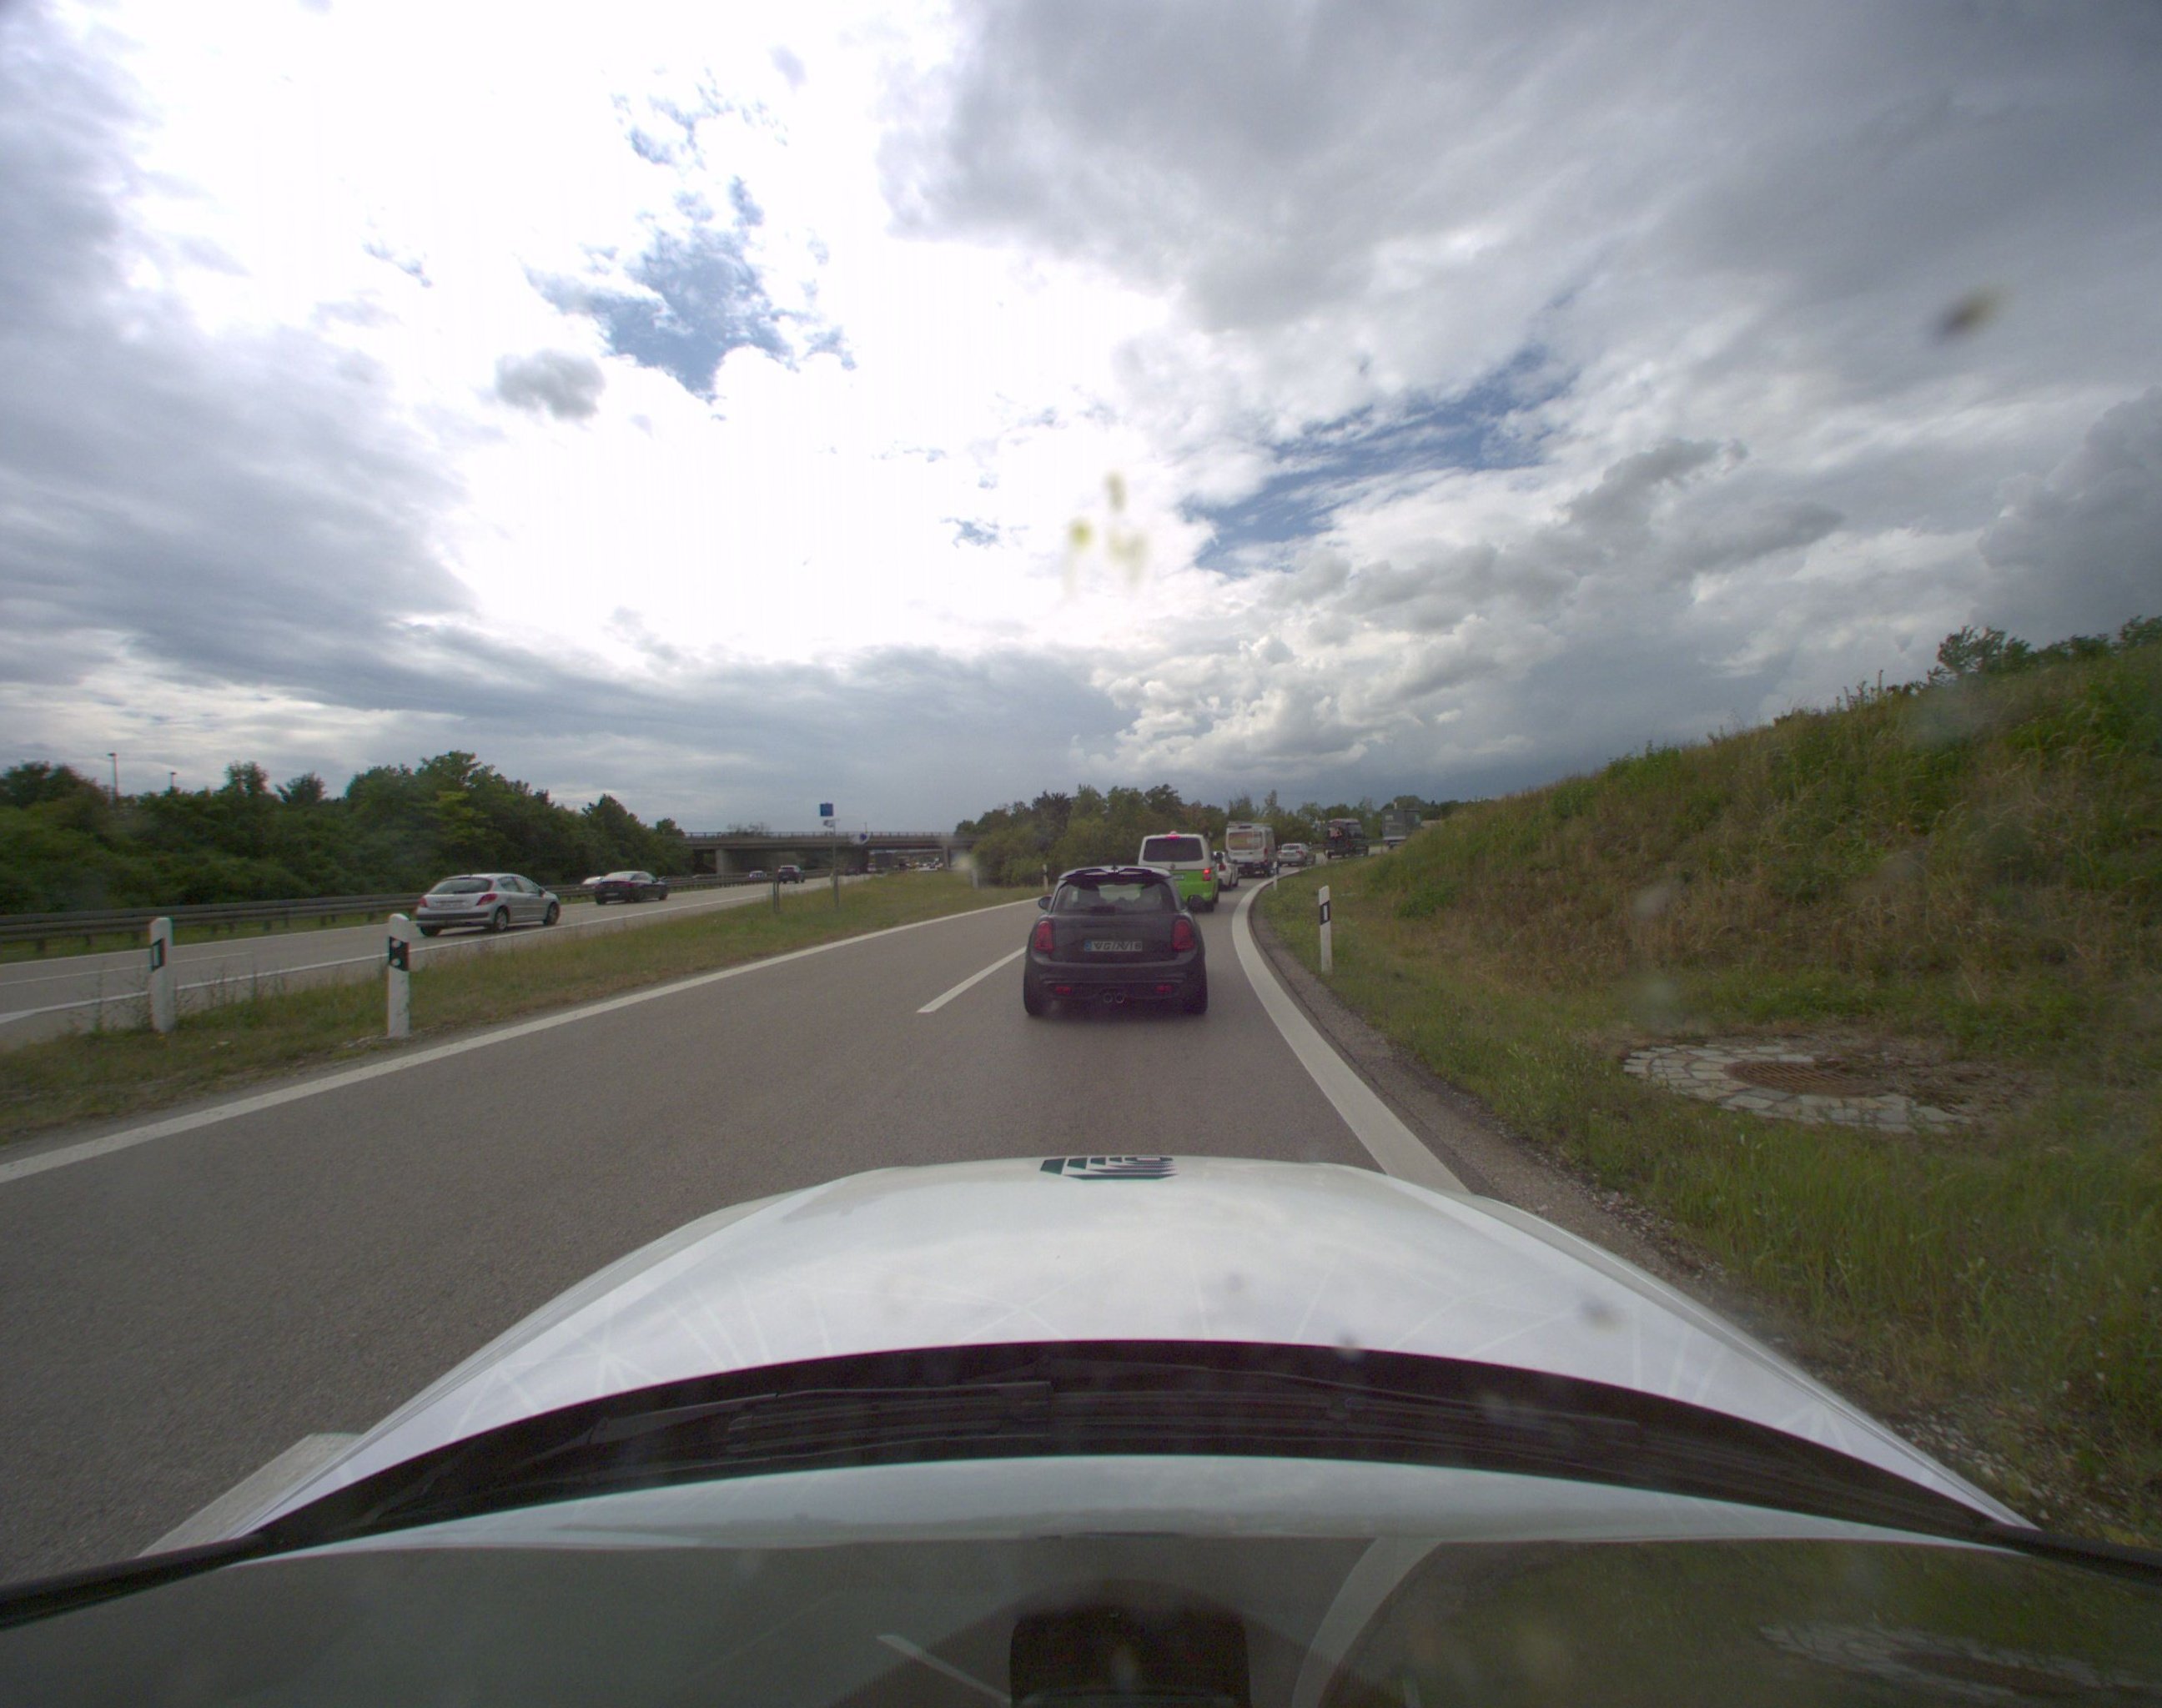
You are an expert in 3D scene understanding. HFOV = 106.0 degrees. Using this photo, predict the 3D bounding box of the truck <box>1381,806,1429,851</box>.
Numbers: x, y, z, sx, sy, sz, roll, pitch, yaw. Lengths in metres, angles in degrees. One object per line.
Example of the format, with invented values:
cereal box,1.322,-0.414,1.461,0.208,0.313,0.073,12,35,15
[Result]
truck,29.995,-2.285,75.300,2.207,3.907,6.053,-2,-2,40

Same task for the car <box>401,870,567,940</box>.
car,-15.149,1.214,20.950,1.716,1.519,3.988,-2,0,-9

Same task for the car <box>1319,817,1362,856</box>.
car,19.243,-1.278,60.308,2.084,2.796,4.025,-1,0,31

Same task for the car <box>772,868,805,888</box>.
car,-27.419,2.208,76.490,1.993,1.743,4.814,-3,0,-9

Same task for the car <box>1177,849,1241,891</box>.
car,4.813,0.566,30.190,1.748,1.399,3.742,-2,0,17

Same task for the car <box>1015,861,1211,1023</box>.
car,0.361,0.798,9.126,1.720,1.413,3.727,-1,0,2

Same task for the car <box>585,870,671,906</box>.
car,-21.570,1.579,38.985,1.993,1.509,4.764,-2,0,-9

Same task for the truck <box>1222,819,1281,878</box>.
truck,8.479,-0.297,40.210,2.161,2.658,5.133,-2,0,19

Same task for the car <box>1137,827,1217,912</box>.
car,2.610,0.384,21.368,1.773,2.014,4.012,-1,0,11

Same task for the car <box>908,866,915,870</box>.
car,-52.845,4.373,254.303,1.721,1.424,4.783,-2,0,-9

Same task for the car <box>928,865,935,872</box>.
car,-43.736,4.275,238.193,1.994,2.014,3.985,0,-1,-10

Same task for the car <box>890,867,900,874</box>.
car,-47.551,4.186,208.176,1.993,1.785,5.396,-2,0,-8

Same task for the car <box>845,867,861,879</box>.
car,-33.883,2.788,121.189,1.845,1.758,4.322,-2,0,-9

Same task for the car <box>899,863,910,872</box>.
car,-37.243,2.820,171.988,1.875,1.751,4.474,-2,0,-8

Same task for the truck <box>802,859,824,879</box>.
truck,-52.900,2.953,160.908,2.758,3.646,8.172,-2,0,-9

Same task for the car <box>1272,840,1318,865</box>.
car,13.494,-0.099,51.254,1.848,1.510,4.024,-2,-1,28

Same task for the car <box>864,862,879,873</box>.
car,-36.706,2.338,142.534,1.993,1.810,3.988,-2,0,-8

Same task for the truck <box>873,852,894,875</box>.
truck,-31.226,1.557,129.044,2.467,3.371,7.898,-3,-1,-9
